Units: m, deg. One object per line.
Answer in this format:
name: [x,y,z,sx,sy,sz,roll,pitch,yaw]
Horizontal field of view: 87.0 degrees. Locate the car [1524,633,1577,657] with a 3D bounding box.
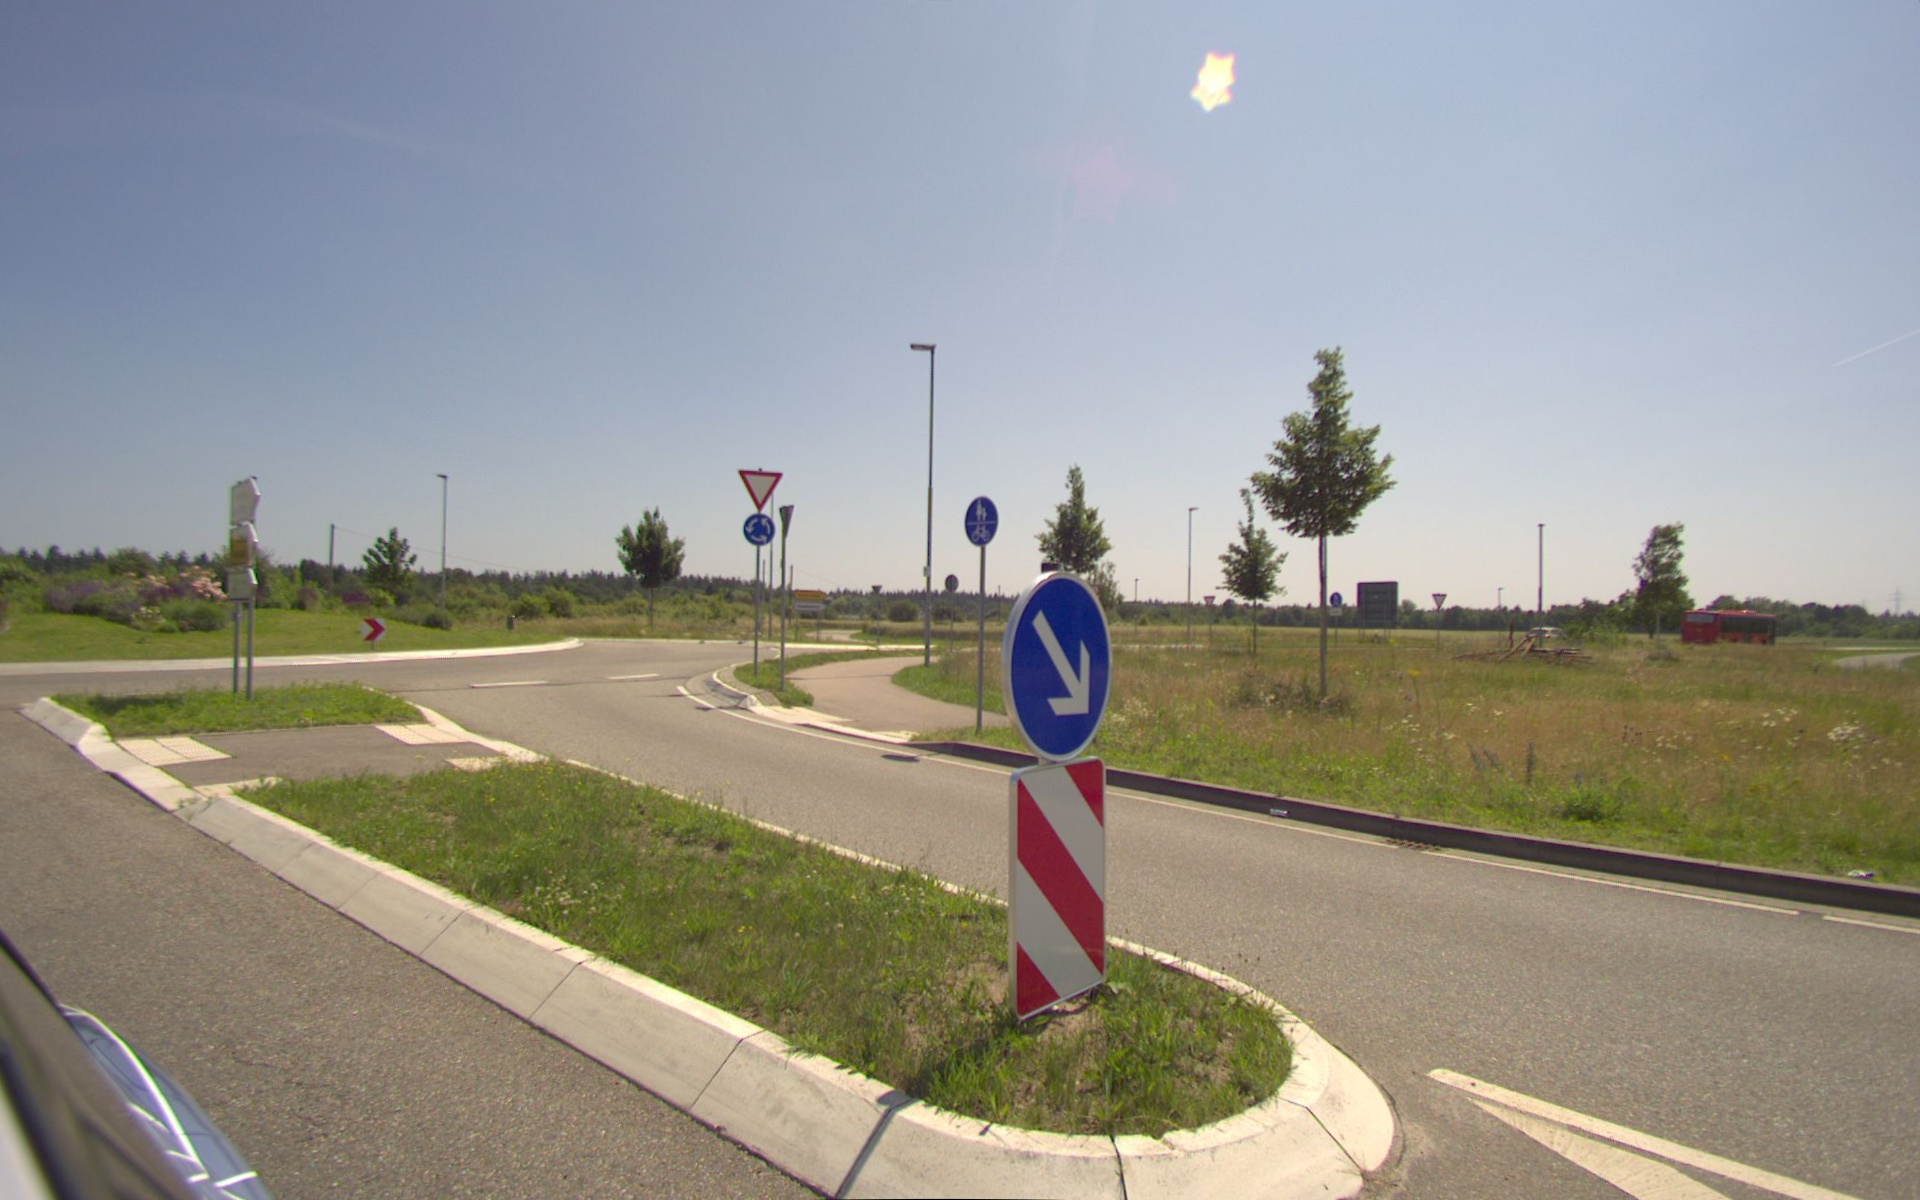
car: [38.284,2.920,65.561,3.543,1.475,1.733,2,-2,-37]

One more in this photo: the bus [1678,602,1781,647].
bus: [61.598,2.014,80.833,11.793,3.334,3.321,2,-2,-36]
